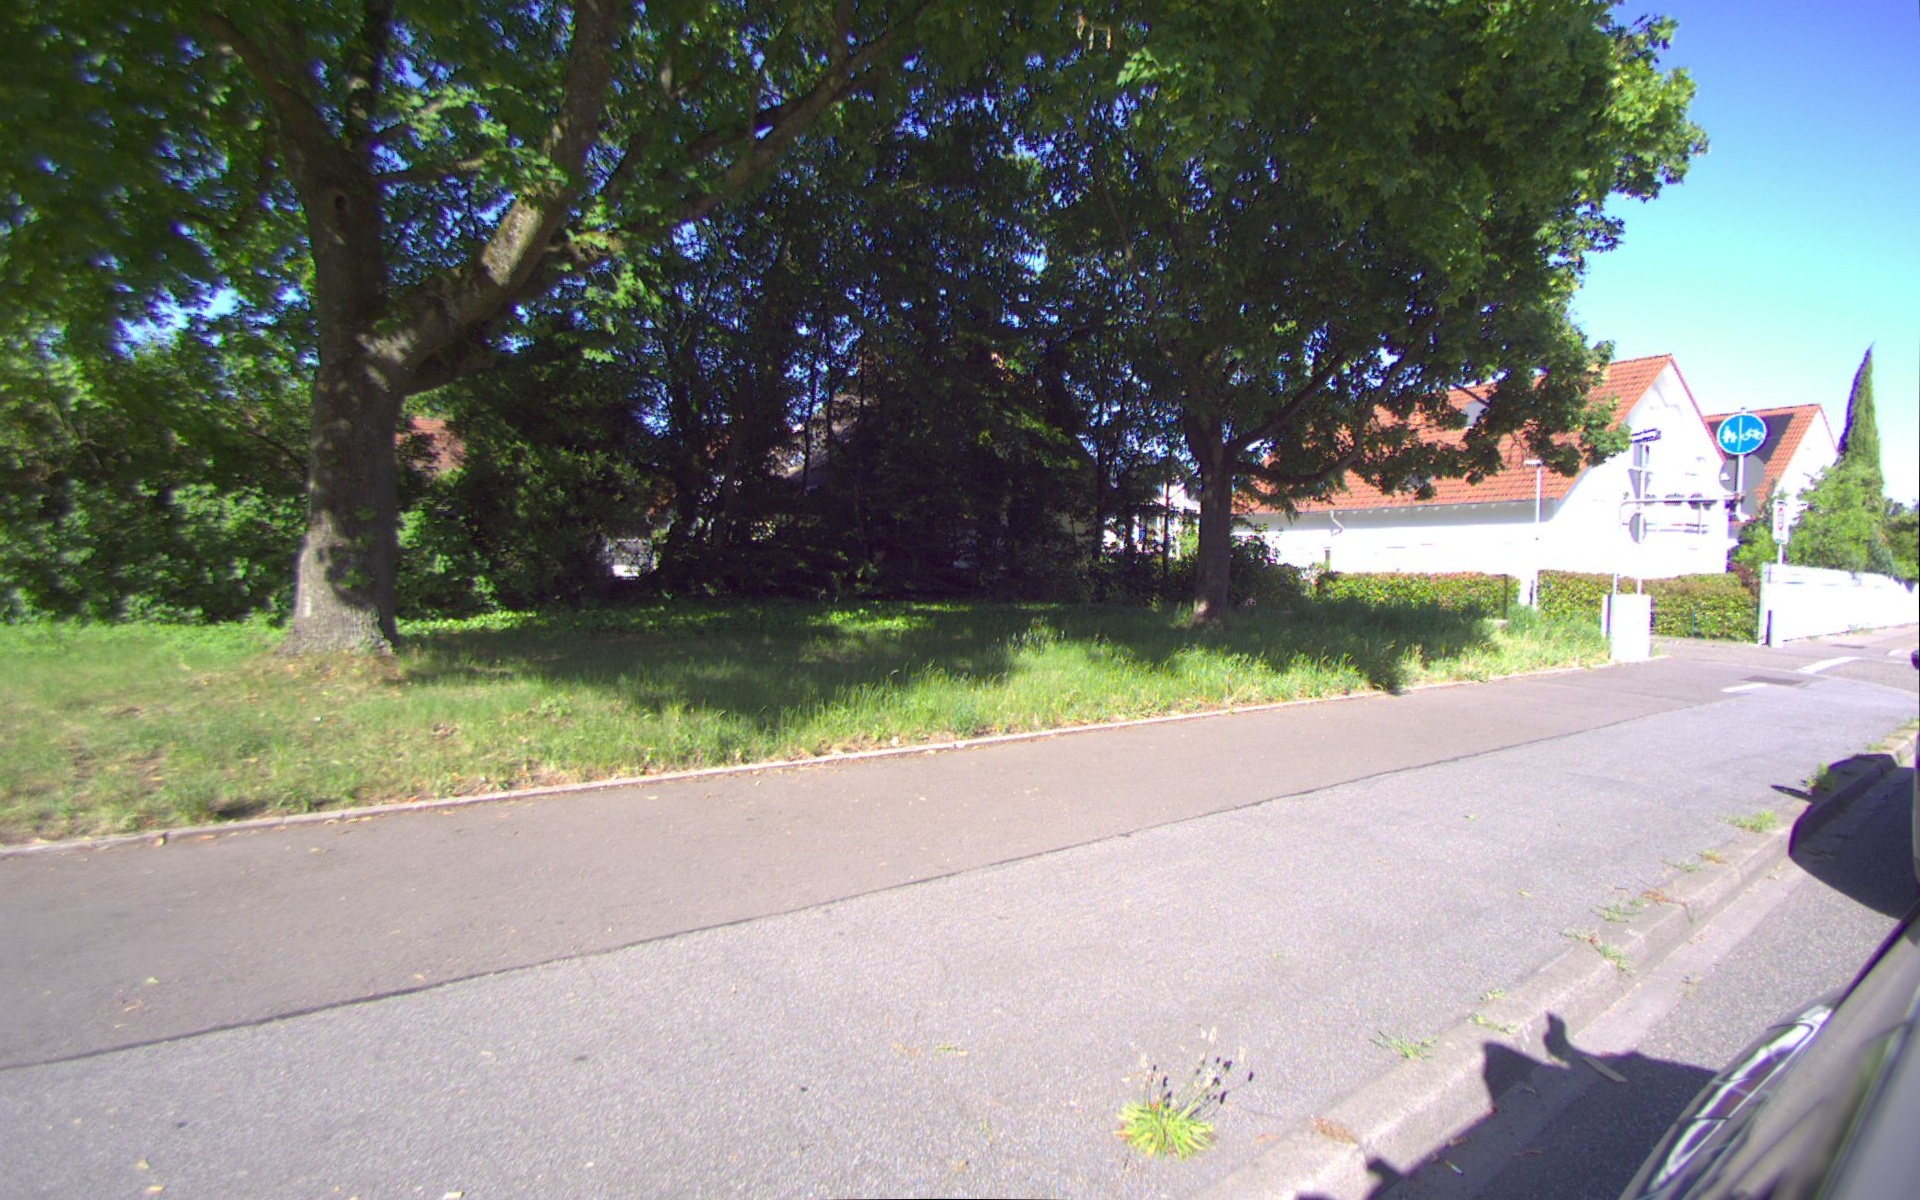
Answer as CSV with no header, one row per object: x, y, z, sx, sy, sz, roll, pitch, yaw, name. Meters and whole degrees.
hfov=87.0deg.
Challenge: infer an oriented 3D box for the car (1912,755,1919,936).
6.179,0.568,4.878,4.133,1.710,1.857,-1,3,-41,car
